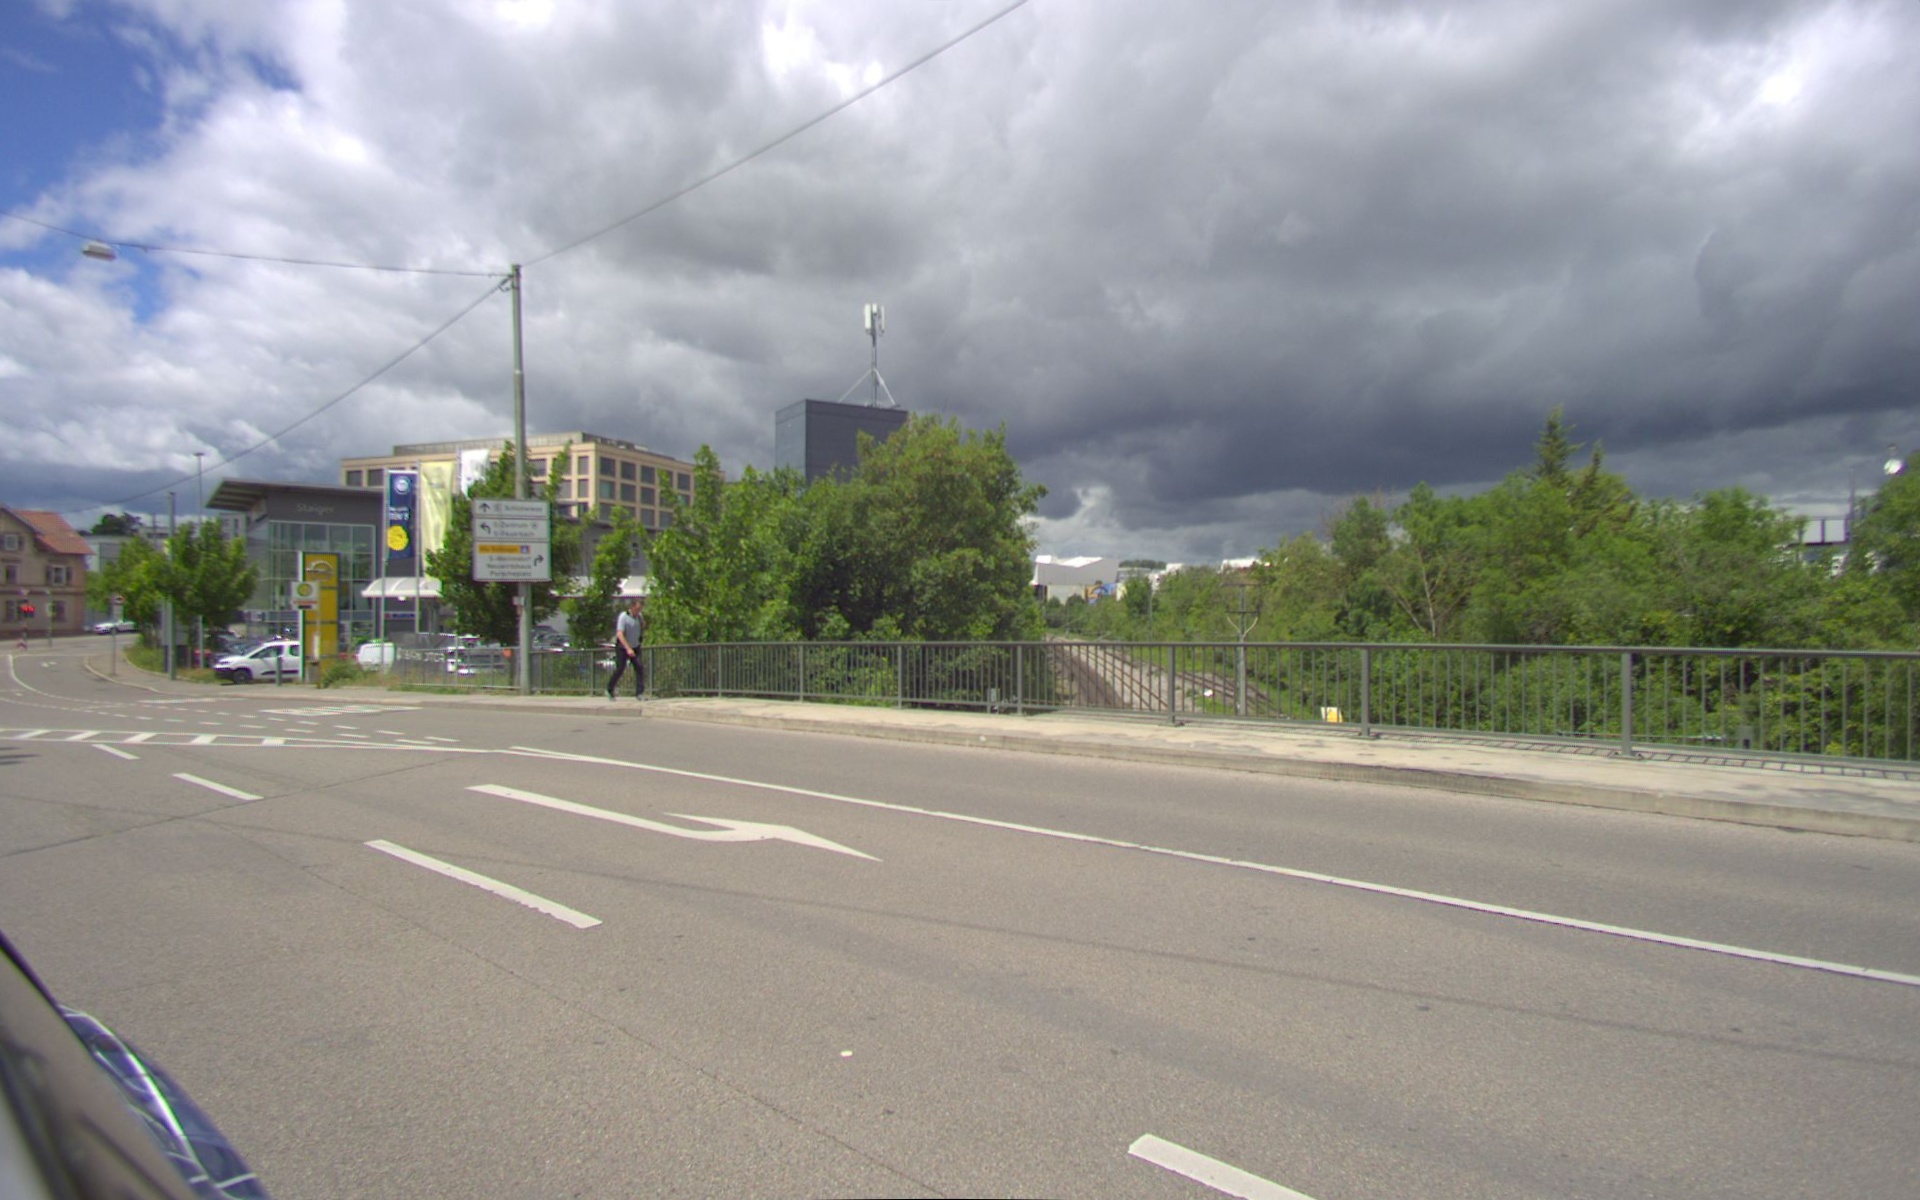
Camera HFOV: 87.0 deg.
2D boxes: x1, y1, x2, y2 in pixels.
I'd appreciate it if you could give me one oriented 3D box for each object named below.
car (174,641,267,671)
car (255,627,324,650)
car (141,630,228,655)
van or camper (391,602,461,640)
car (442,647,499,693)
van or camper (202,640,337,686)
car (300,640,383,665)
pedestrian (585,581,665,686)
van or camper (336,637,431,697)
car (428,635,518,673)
[{"bbox_3d":[-40.109,2.988,54.935,1.812,1.509,3.807,-2,-2,42],"label":"car"},{"bbox_3d":[-41.337,2.363,62.452,1.518,1.384,3.279,-2,-2,42],"label":"car"},{"bbox_3d":[-49.130,2.664,64.141,1.813,1.509,4.160,-2,-2,43],"label":"car"},{"bbox_3d":[-29.640,1.189,56.099,4.685,2.029,1.972,-2,-2,43],"label":"van or camper"},{"bbox_3d":[-18.448,2.595,38.247,1.786,1.478,4.013,0,0,-24],"label":"car"},{"bbox_3d":[-30.068,2.697,44.163,4.612,1.763,2.002,1,-2,-43],"label":"van or camper"},{"bbox_3d":[-32.569,2.741,53.362,1.545,1.263,3.426,-2,-2,42],"label":"car"},{"bbox_3d":[-6.161,0.601,18.599,1.037,1.851,0.985,-3,-1,44],"label":"pedestrian"},{"bbox_3d":[-22.152,2.512,39.088,1.956,1.978,4.972,-1,-1,-15],"label":"van or camper"},{"bbox_3d":[-21.150,2.316,44.153,1.795,1.478,3.994,0,0,5],"label":"car"}]
